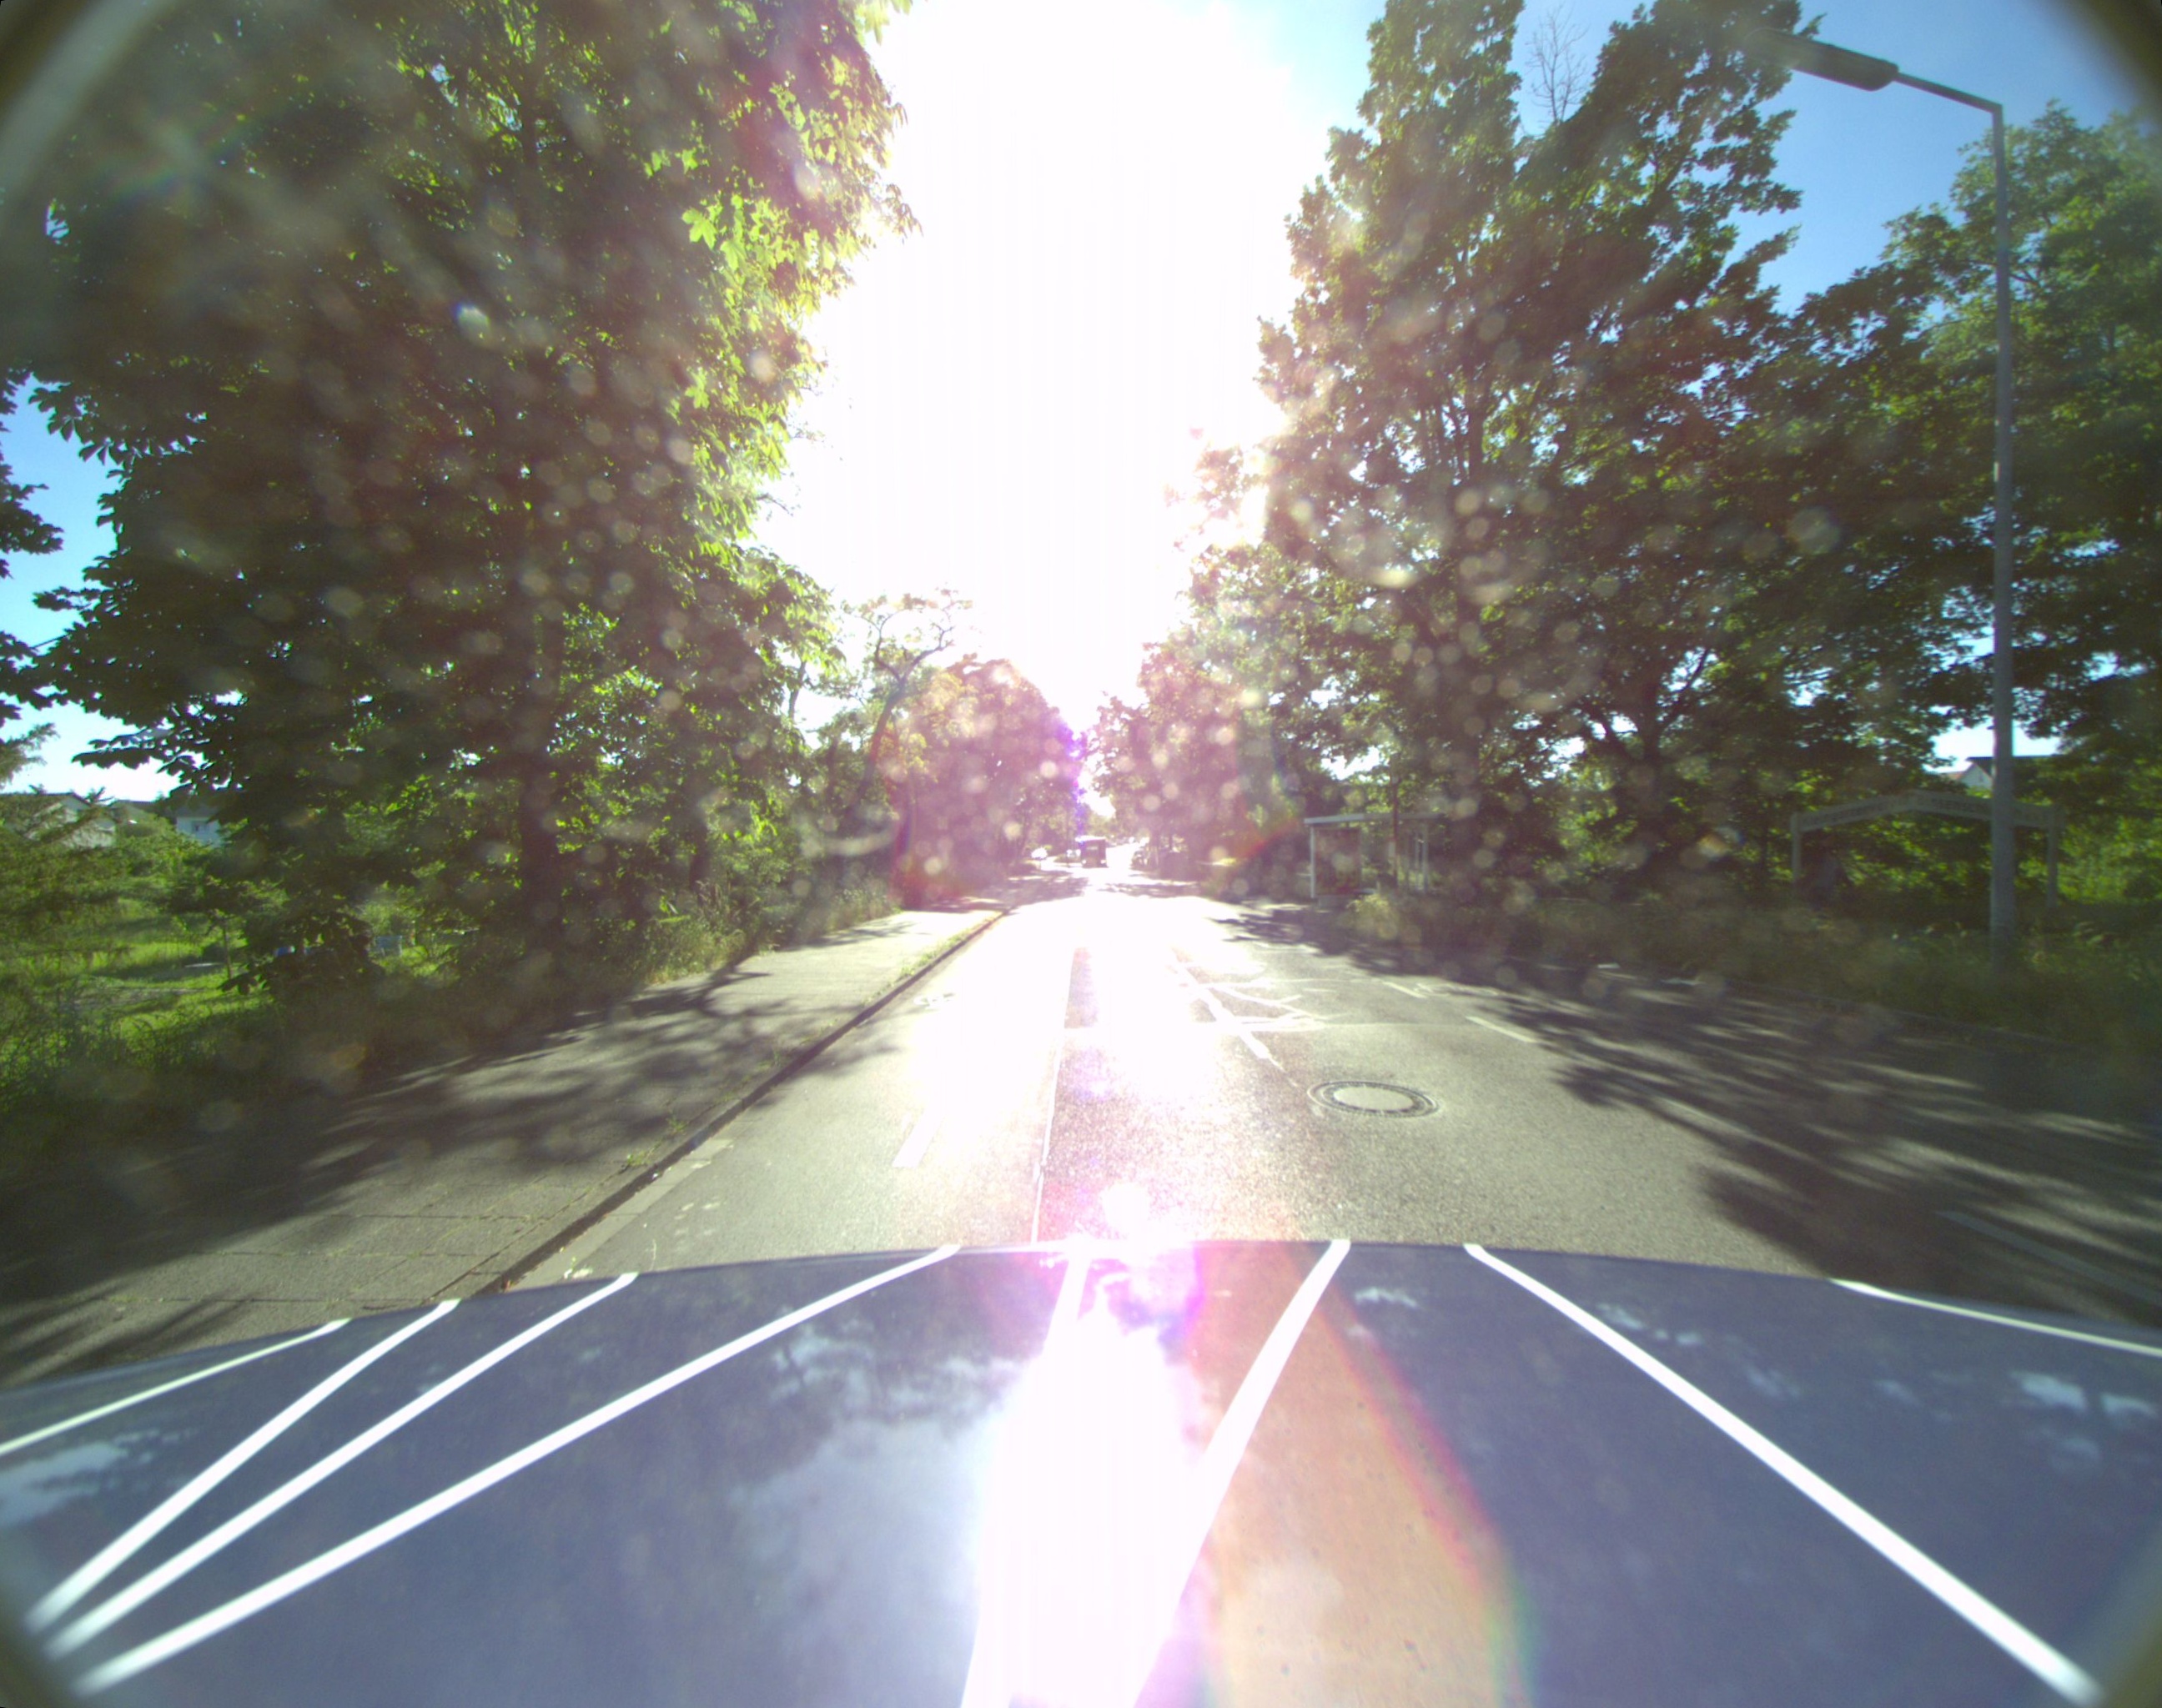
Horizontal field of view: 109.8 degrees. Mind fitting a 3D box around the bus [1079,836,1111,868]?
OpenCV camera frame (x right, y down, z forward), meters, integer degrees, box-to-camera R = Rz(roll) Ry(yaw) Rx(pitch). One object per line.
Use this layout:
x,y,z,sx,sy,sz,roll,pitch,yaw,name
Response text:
1.343,-0.223,79.818,2.790,2.965,12.893,-2,0,-1,bus
